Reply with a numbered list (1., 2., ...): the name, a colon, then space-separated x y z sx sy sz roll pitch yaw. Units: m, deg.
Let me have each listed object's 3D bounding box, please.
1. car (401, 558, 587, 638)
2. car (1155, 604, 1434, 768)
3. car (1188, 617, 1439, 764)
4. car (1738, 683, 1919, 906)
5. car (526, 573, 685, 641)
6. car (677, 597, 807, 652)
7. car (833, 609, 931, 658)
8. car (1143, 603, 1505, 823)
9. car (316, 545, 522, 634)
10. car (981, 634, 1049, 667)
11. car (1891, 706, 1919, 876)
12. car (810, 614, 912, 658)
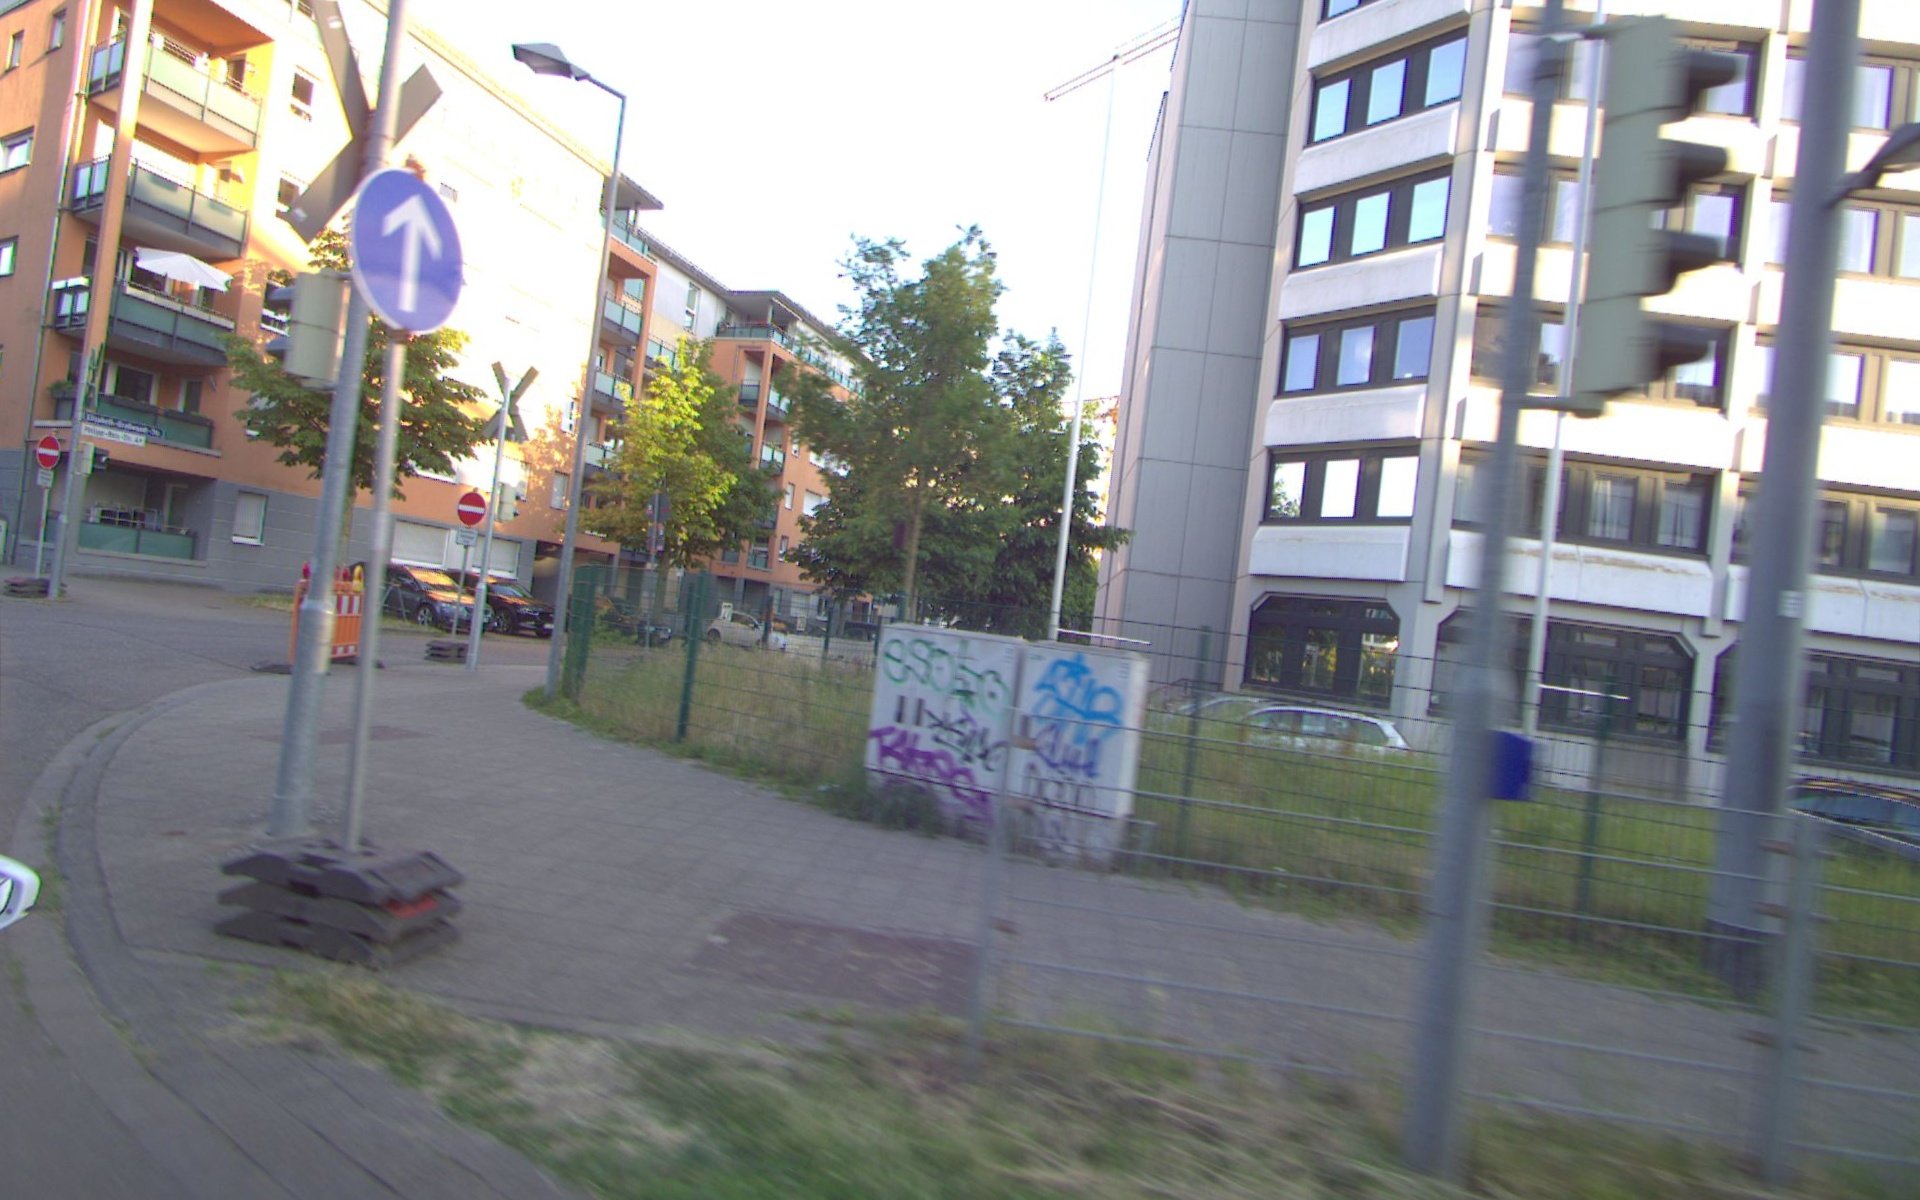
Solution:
1. car: -13.417 -0.052 28.958 4.726 1.613 2.001 7 -1 21
2. car: 5.575 1.375 16.809 3.931 2.037 1.998 7 -1 29
3. car: 6.559 1.628 18.682 3.931 2.037 1.998 7 -1 29
4. car: 10.236 2.043 10.055 1.962 2.037 4.005 8 -2 8
5. car: -11.871 0.247 33.695 4.726 1.613 2.001 7 -1 21
6. car: -8.960 1.023 41.434 4.724 1.613 2.001 7 -1 18
7. car: -4.234 1.851 54.751 4.724 2.007 2.001 7 -1 18
8. car: 4.680 1.347 13.001 3.931 2.037 1.998 7 -1 29
9. car: -14.112 -0.277 26.246 4.726 1.612 2.002 7 -2 21
10. car: 4.351 3.989 79.603 4.726 2.007 2.001 7 -1 21
11. car: 12.457 2.362 10.454 1.962 2.037 4.005 8 -2 8
12. car: -5.120 1.879 52.147 4.724 1.613 2.001 7 -1 18
